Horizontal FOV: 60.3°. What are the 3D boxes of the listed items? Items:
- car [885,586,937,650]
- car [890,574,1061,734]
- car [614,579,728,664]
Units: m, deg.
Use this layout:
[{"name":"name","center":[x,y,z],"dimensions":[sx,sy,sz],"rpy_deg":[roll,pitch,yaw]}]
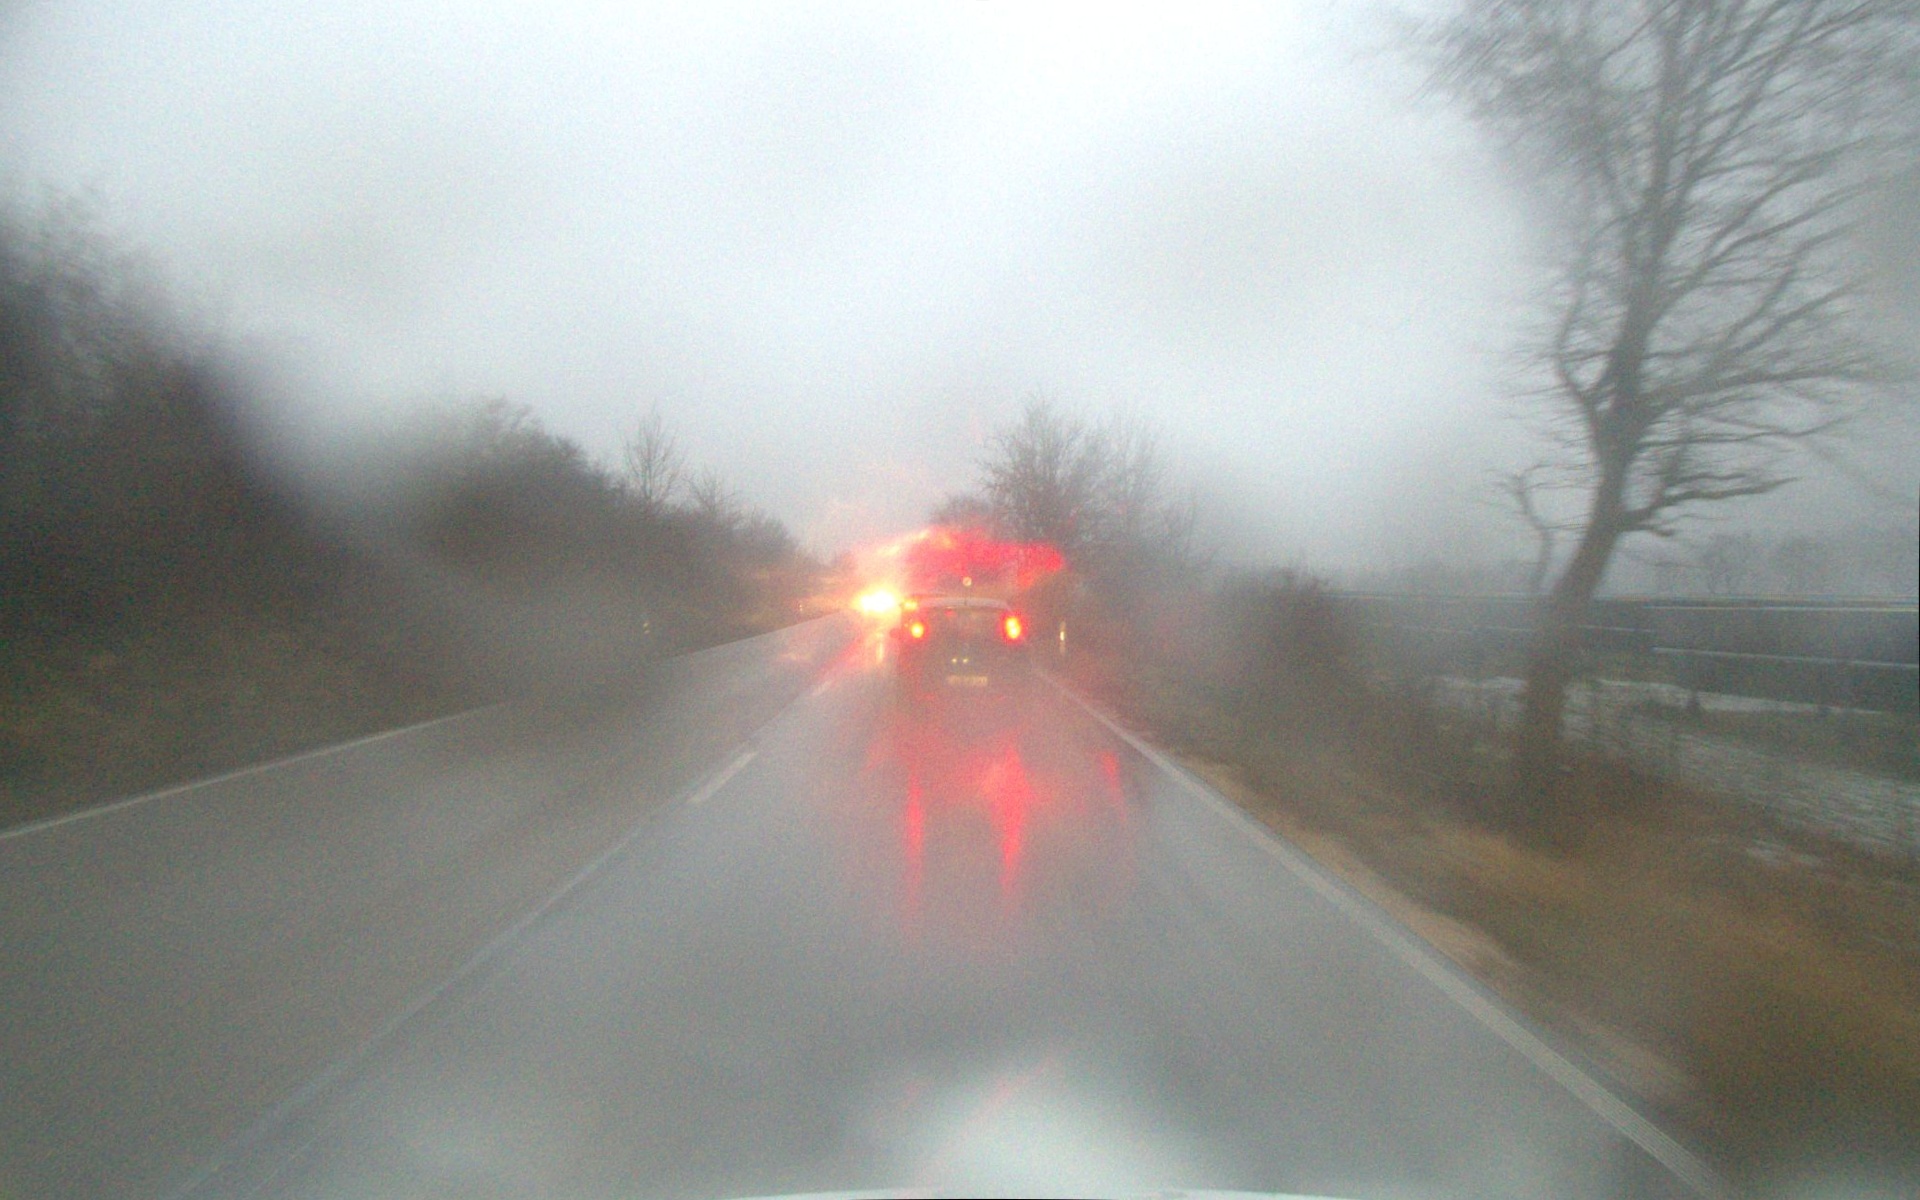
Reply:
[{"name":"car","center":[-1.507,0.536,51.813],"dimensions":[1.542,1.908,3.708],"rpy_deg":[1,0,-1]},{"name":"car","center":[0.151,0.624,21.137],"dimensions":[1.953,1.816,3.999],"rpy_deg":[1,0,-1]},{"name":"car","center":[-6.625,0.473,38.342],"dimensions":[1.953,1.816,3.999],"rpy_deg":[1,0,-1]}]
